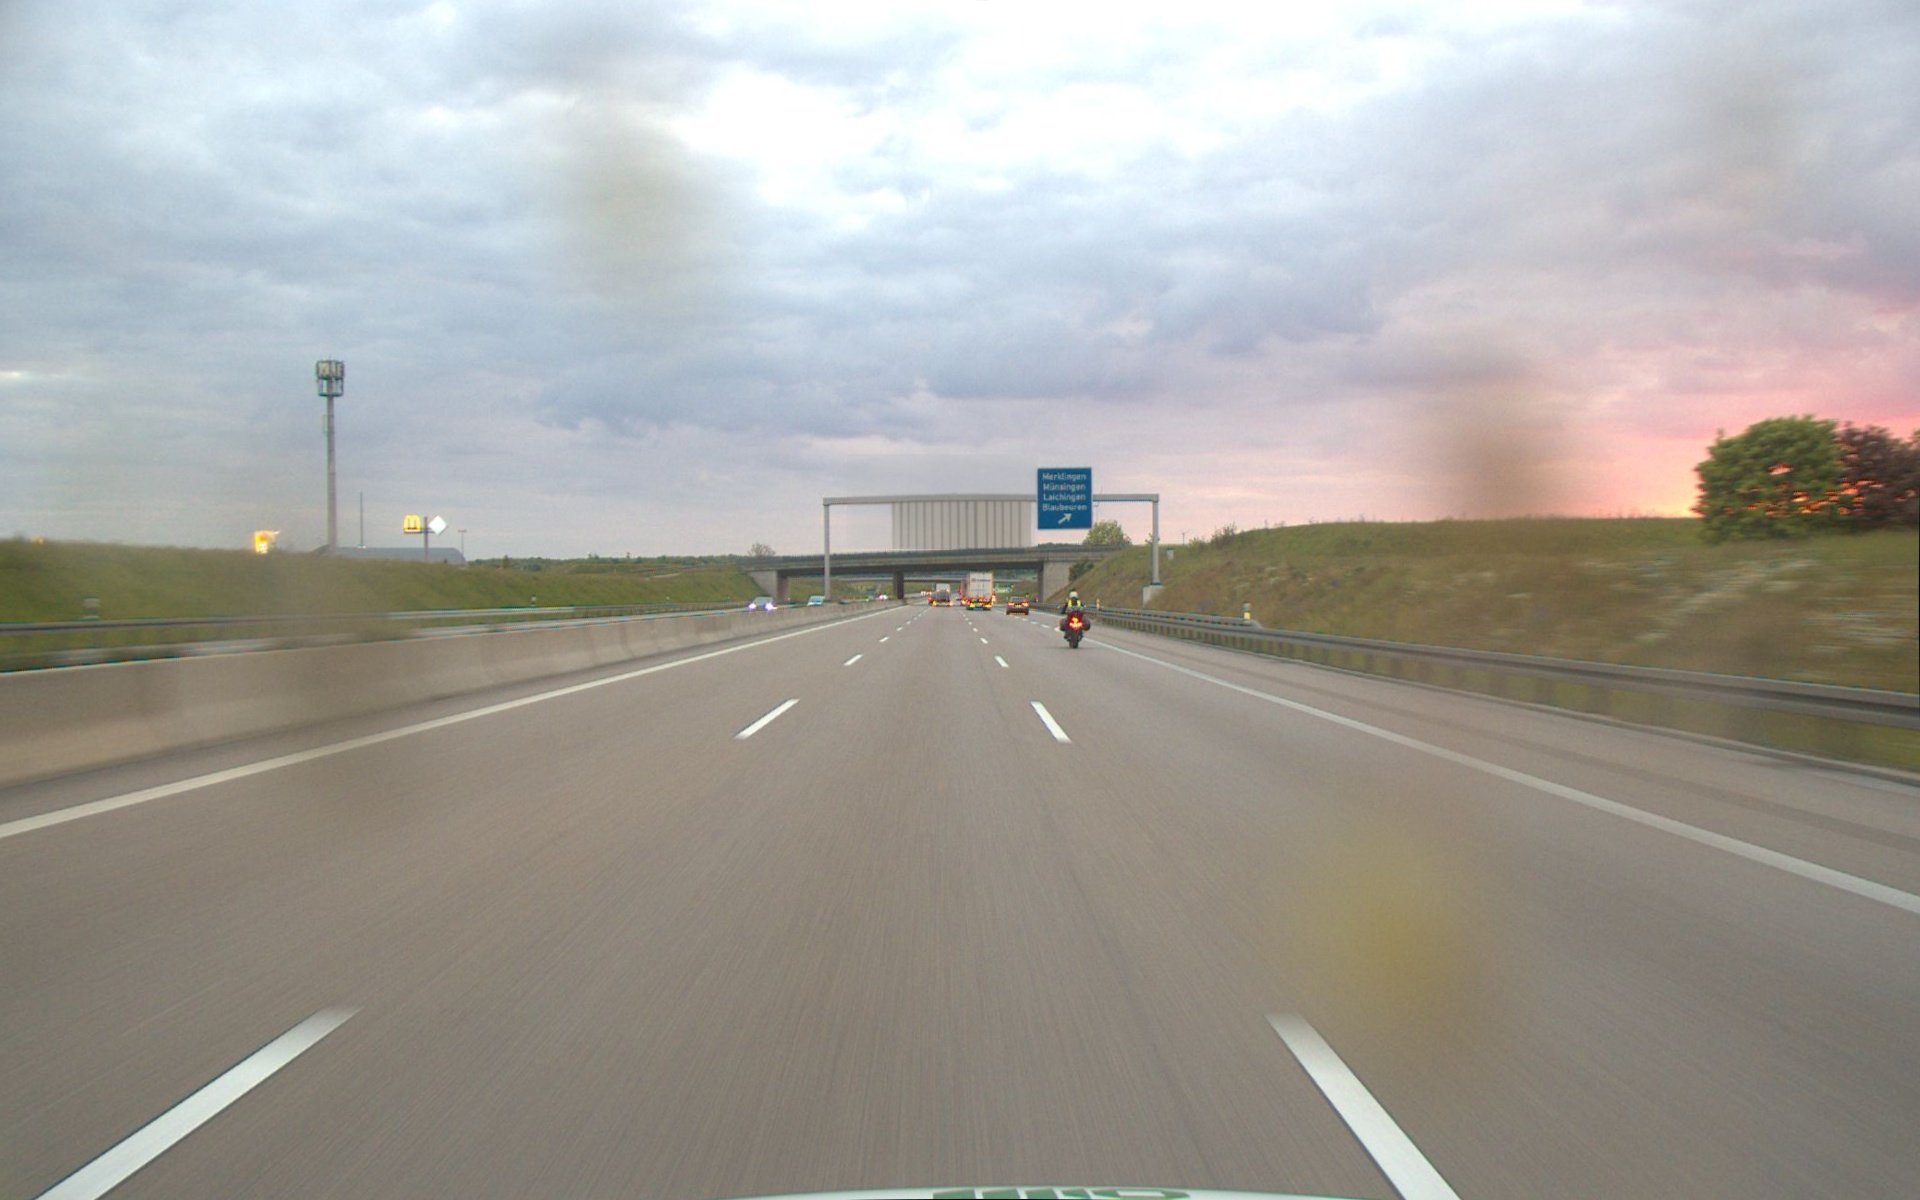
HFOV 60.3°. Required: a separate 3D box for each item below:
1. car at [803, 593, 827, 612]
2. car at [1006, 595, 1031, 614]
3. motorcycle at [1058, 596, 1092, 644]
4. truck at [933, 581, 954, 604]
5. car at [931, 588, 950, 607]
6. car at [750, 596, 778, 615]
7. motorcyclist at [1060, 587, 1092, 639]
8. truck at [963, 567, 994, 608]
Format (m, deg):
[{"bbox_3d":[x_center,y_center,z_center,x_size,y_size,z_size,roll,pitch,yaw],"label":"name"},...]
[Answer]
[{"bbox_3d":[-12.885,0.177,147.568,1.713,1.625,4.643,1,0,0],"label":"car"},{"bbox_3d":[4.875,0.373,139.054,1.879,1.607,3.999,0,0,-1],"label":"car"},{"bbox_3d":[3.472,0.583,50.088,0.883,1.370,2.349,0,1,0],"label":"motorcycle"},{"bbox_3d":[-2.476,-1.085,241.946,2.892,3.273,8.404,1,1,-1],"label":"truck"},{"bbox_3d":[-2.693,-0.361,225.867,2.465,2.433,6.494,0,0,-1],"label":"car"},{"bbox_3d":[-16.318,0.443,137.785,1.962,1.615,4.571,0,0,-2],"label":"car"},{"bbox_3d":[3.486,0.378,49.858,0.848,1.513,1.168,1,1,0],"label":"motorcyclist"},{"bbox_3d":[1.985,-1.425,179.996,3.167,4.301,9.598,1,1,0],"label":"truck"}]
